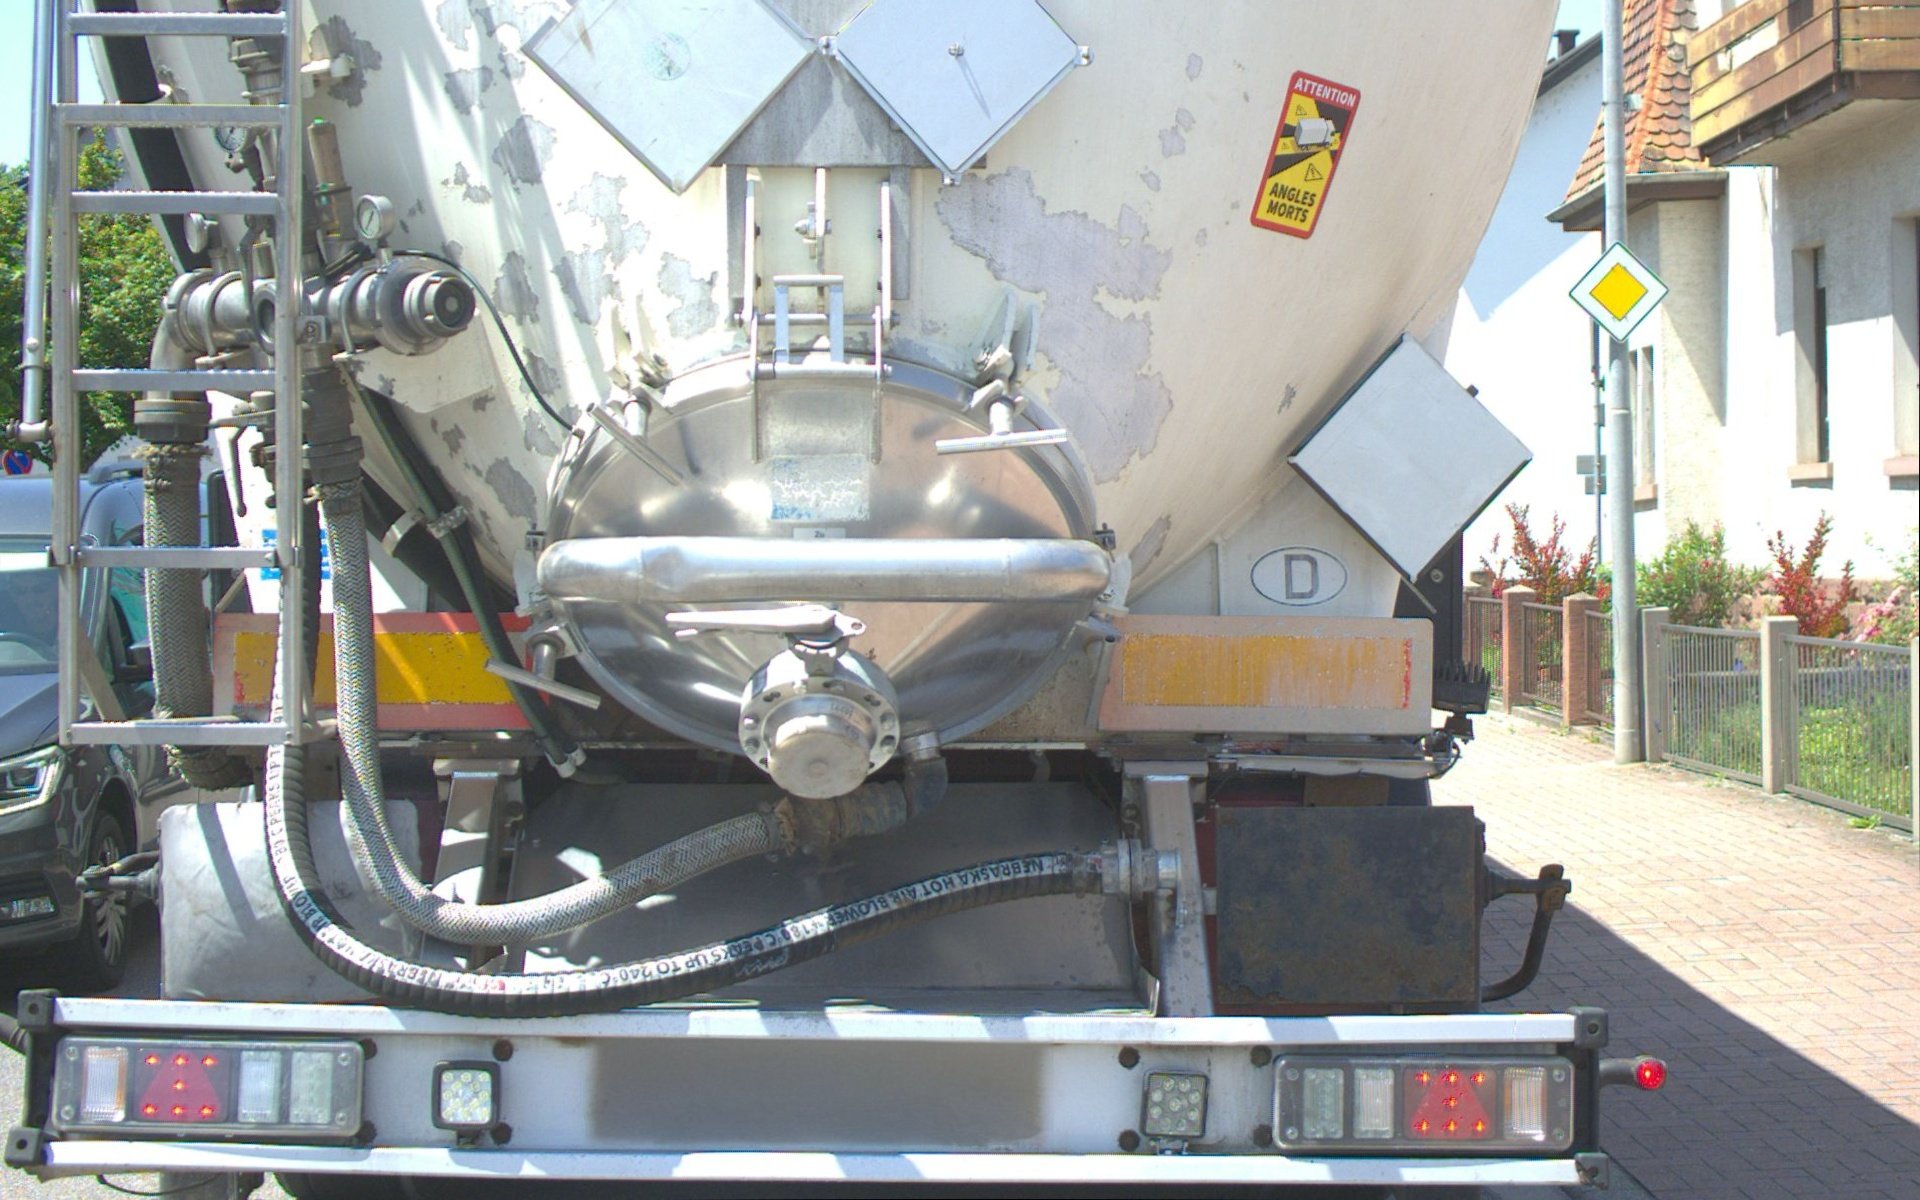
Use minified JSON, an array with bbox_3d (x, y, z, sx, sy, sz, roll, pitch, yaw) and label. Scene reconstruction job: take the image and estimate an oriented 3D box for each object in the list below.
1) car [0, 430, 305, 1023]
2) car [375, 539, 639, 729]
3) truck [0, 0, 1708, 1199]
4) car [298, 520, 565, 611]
[{"bbox_3d":[-3.732,0.377,12.948,1.655,1.848,4.464,-2,1,-1],"label":"car"},{"bbox_3d":[-3.881,0.241,30.082,1.719,1.441,4.255,-3,1,0],"label":"car"},{"bbox_3d":[-0.299,-0.717,9.635,2.641,4.002,9.562,0,1,0],"label":"truck"},{"bbox_3d":[-9.886,-0.650,64.429,4.626,1.645,1.740,0,1,8],"label":"car"}]
